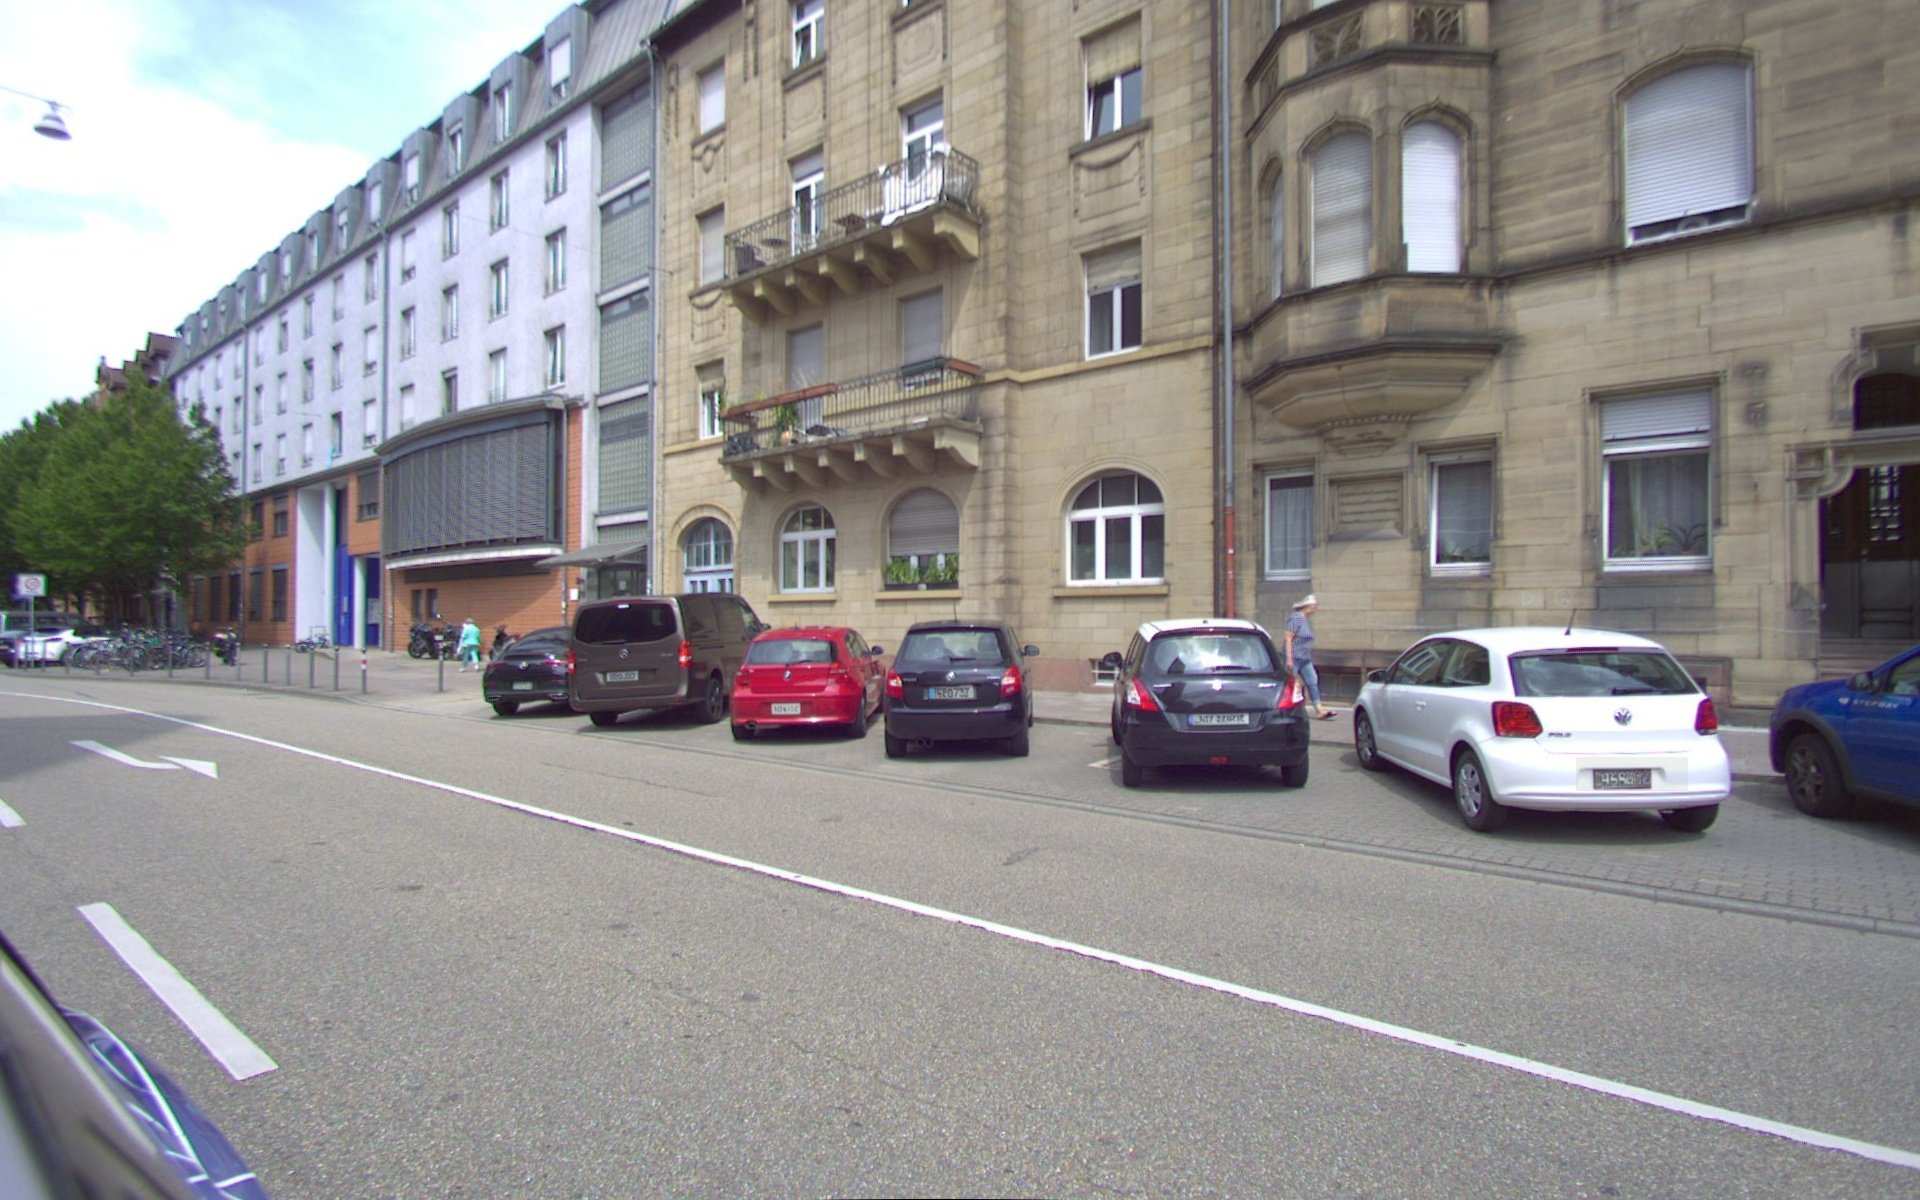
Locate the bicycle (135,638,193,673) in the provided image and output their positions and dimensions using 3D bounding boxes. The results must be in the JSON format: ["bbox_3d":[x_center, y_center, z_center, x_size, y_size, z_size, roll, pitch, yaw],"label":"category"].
[{"bbox_3d":[-24.918,1.713,31.687,0.402,1.034,1.390,-2,-2,43],"label":"bicycle"}]

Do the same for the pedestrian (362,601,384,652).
[{"bbox_3d":[-23.667,1.066,40.792,0.718,2.029,0.785,1,-2,-29],"label":"pedestrian"}]

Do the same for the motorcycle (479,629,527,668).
[{"bbox_3d":[-13.094,1.387,28.981,1.793,1.057,0.577,-2,-1,42],"label":"motorcycle"}]

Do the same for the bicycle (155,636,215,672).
[{"bbox_3d":[-23.466,1.611,30.651,0.402,1.034,1.390,-2,-2,43],"label":"bicycle"}]

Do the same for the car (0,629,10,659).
[{"bbox_3d":[-59.750,2.664,60.602,1.671,1.872,4.035,-1,-2,7],"label":"car"}]

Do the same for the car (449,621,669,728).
[{"bbox_3d":[-6.840,1.198,17.887,1.874,1.420,4.669,-2,1,2],"label":"car"}]

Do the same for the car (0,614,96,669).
[{"bbox_3d":[-37.060,1.613,40.141,1.841,2.013,3.993,-1,0,10],"label":"car"}]

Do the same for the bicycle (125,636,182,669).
[{"bbox_3d":[-25.911,1.676,32.533,0.402,1.034,1.390,-2,-2,43],"label":"bicycle"}]

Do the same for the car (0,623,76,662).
[{"bbox_3d":[-41.180,1.835,44.028,1.692,1.627,3.996,-1,-2,7],"label":"car"}]

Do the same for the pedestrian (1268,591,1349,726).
[{"bbox_3d":[4.372,0.706,12.696,0.678,1.607,0.783,-2,0,41],"label":"pedestrian"}]

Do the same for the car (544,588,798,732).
[{"bbox_3d":[-4.351,0.886,16.335,2.096,1.924,5.260,-1,-2,7],"label":"car"}]

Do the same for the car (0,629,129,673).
[{"bbox_3d":[-32.680,1.801,36.439,1.697,1.480,4.307,-1,-2,7],"label":"car"}]

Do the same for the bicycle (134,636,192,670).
[{"bbox_3d":[-25.241,1.662,32.058,0.402,1.034,1.390,-2,-2,43],"label":"bicycle"}]

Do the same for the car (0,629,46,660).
[{"bbox_3d":[-47.091,2.181,49.094,1.671,1.465,3.996,-1,-2,7],"label":"car"}]

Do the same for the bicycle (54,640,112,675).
[{"bbox_3d":[-28.535,1.862,32.942,0.402,1.034,1.391,-2,0,43],"label":"bicycle"}]

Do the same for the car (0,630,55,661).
[{"bbox_3d":[-45.358,2.152,47.716,1.577,1.400,3.996,-1,-2,7],"label":"car"}]

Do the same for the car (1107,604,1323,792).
[{"bbox_3d":[2.465,0.884,10.633,1.776,1.576,4.001,-1,-2,9],"label":"car"}]

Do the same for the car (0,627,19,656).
[{"bbox_3d":[-53.180,2.206,54.132,1.671,1.580,3.996,0,-2,7],"label":"car"}]

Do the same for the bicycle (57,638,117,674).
[{"bbox_3d":[-27.934,1.776,32.404,0.402,1.034,1.391,-2,0,43],"label":"bicycle"}]

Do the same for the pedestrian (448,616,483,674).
[{"bbox_3d":[-12.929,1.176,26.473,0.508,1.497,0.653,-2,-2,39],"label":"pedestrian"}]

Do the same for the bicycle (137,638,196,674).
[{"bbox_3d":[-24.531,1.717,31.315,0.402,1.034,1.390,-2,-2,43],"label":"bicycle"}]

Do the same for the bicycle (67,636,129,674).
[{"bbox_3d":[-26.505,1.682,31.134,0.402,1.046,1.391,-2,0,43],"label":"bicycle"}]

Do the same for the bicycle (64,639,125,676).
[{"bbox_3d":[-26.986,1.781,31.555,0.402,1.034,1.391,-2,0,43],"label":"bicycle"}]

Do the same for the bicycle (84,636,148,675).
[{"bbox_3d":[-24.928,1.630,29.900,0.402,1.046,1.391,-2,0,43],"label":"bicycle"}]

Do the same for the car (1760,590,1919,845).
[{"bbox_3d":[7.091,0.751,6.099,1.703,1.664,3.772,-1,-2,5],"label":"car"}]

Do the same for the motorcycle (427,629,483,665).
[{"bbox_3d":[-15.748,1.465,31.570,1.959,1.057,0.579,-2,-1,30],"label":"motorcycle"}]

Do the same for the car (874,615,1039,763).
[{"bbox_3d":[0.109,0.967,12.454,1.611,1.514,3.989,-1,-2,6],"label":"car"}]

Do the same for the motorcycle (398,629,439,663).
[{"bbox_3d":[-17.681,1.506,33.028,1.655,1.057,0.577,-2,-1,40],"label":"motorcycle"}]

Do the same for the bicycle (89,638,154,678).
[{"bbox_3d":[-24.271,1.670,29.297,0.402,1.046,1.391,-2,0,43],"label":"bicycle"}]

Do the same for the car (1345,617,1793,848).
[{"bbox_3d":[4.668,0.911,8.468,1.720,1.493,3.680,-1,-2,5],"label":"car"}]

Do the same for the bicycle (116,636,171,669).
[{"bbox_3d":[-27.204,1.731,33.741,0.402,1.034,1.390,-2,-2,43],"label":"bicycle"}]

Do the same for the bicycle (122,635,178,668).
[{"bbox_3d":[-26.276,1.656,32.853,0.402,1.034,1.390,-2,-2,43],"label":"bicycle"}]

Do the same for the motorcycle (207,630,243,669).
[{"bbox_3d":[-23.160,1.559,31.862,1.779,1.181,0.577,-2,-1,43],"label":"motorcycle"}]

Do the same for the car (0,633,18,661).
[{"bbox_3d":[-55.169,2.627,56.227,1.671,1.580,3.996,-1,-2,7],"label":"car"}]

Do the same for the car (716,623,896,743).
[{"bbox_3d":[-1.978,1.046,14.111,1.772,1.420,4.009,0,-2,2],"label":"car"}]

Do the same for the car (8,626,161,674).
[{"bbox_3d":[-30.383,1.694,35.286,1.583,1.557,3.997,-1,-2,7],"label":"car"}]

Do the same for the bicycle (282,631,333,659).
[{"bbox_3d":[-25.890,1.787,40.171,1.590,0.933,0.933,-6,2,-37],"label":"bicycle"}]
